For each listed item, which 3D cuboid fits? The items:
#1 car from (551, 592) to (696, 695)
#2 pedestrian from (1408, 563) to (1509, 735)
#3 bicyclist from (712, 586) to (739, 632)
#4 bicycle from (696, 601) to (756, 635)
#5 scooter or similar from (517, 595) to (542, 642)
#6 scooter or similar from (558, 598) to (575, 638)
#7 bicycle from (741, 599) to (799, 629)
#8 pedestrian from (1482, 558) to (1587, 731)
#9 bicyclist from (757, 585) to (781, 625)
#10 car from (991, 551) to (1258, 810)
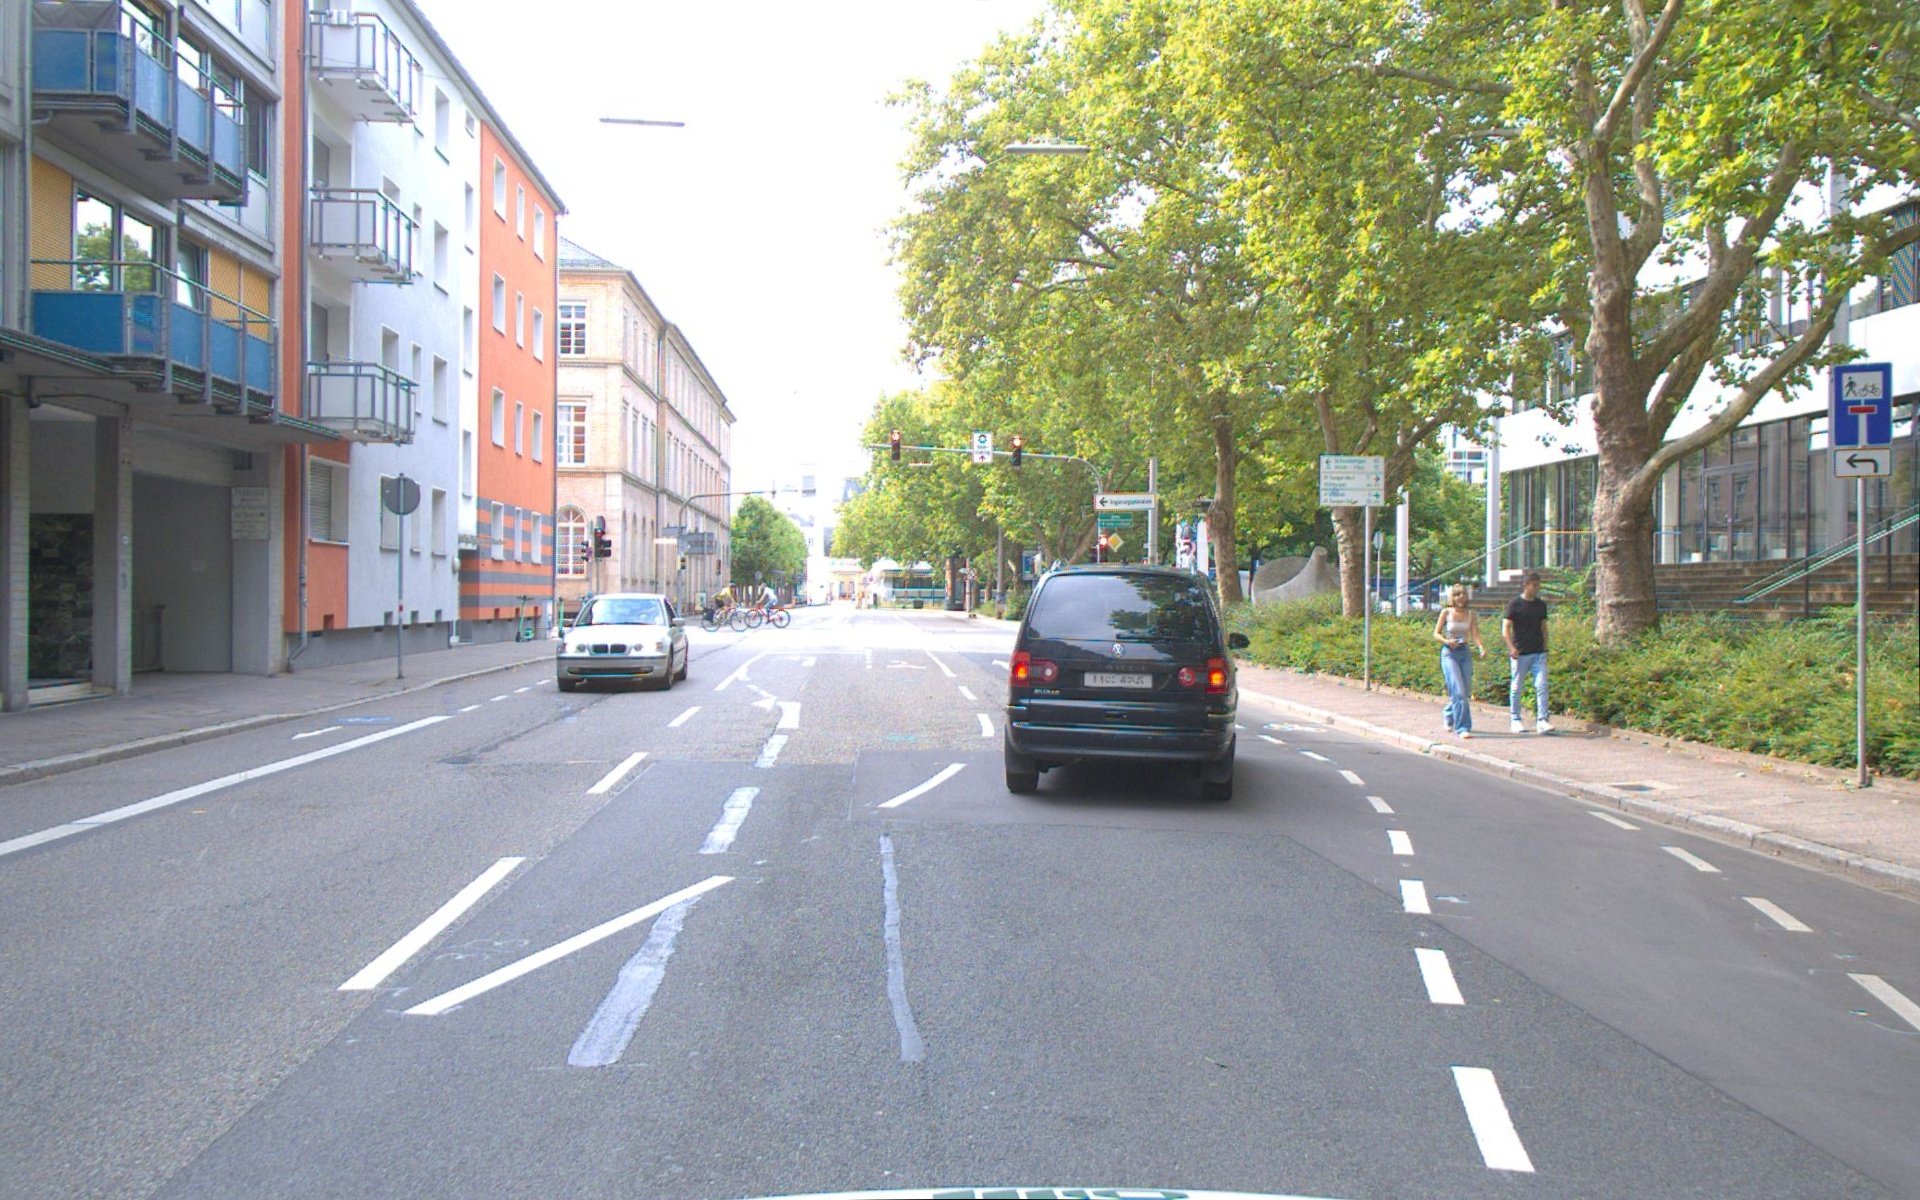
[{"bbox_3d":[-5.235,0.625,26.216,1.723,1.452,4.095,-1,0,-4],"label":"car"},{"bbox_3d":[5.481,0.525,18.244,0.697,1.814,1.033,-1,0,-5],"label":"pedestrian"},{"bbox_3d":[-7.992,0.309,56.366,0.897,1.541,0.625,0,0,-7],"label":"bicyclist"},{"bbox_3d":[-7.975,0.610,56.369,1.979,1.113,0.627,0,0,-6],"label":"bicycle"},{"bbox_3d":[-11.219,0.495,43.138,0.370,1.204,1.388,0,-1,-3],"label":"scooter or similar"},{"bbox_3d":[-11.736,0.541,49.330,0.371,1.167,1.140,0,-1,-7],"label":"scooter or similar"},{"bbox_3d":[-7.265,0.543,63.222,2.192,1.113,0.626,0,0,-9],"label":"bicycle"},{"bbox_3d":[6.310,0.481,18.219,0.701,1.831,1.033,-1,0,-5],"label":"pedestrian"},{"bbox_3d":[-7.287,0.184,63.217,0.897,1.519,0.625,0,0,-8],"label":"bicyclist"},{"bbox_3d":[1.453,0.536,13.806,1.834,1.775,4.577,1,0,8],"label":"car"}]
